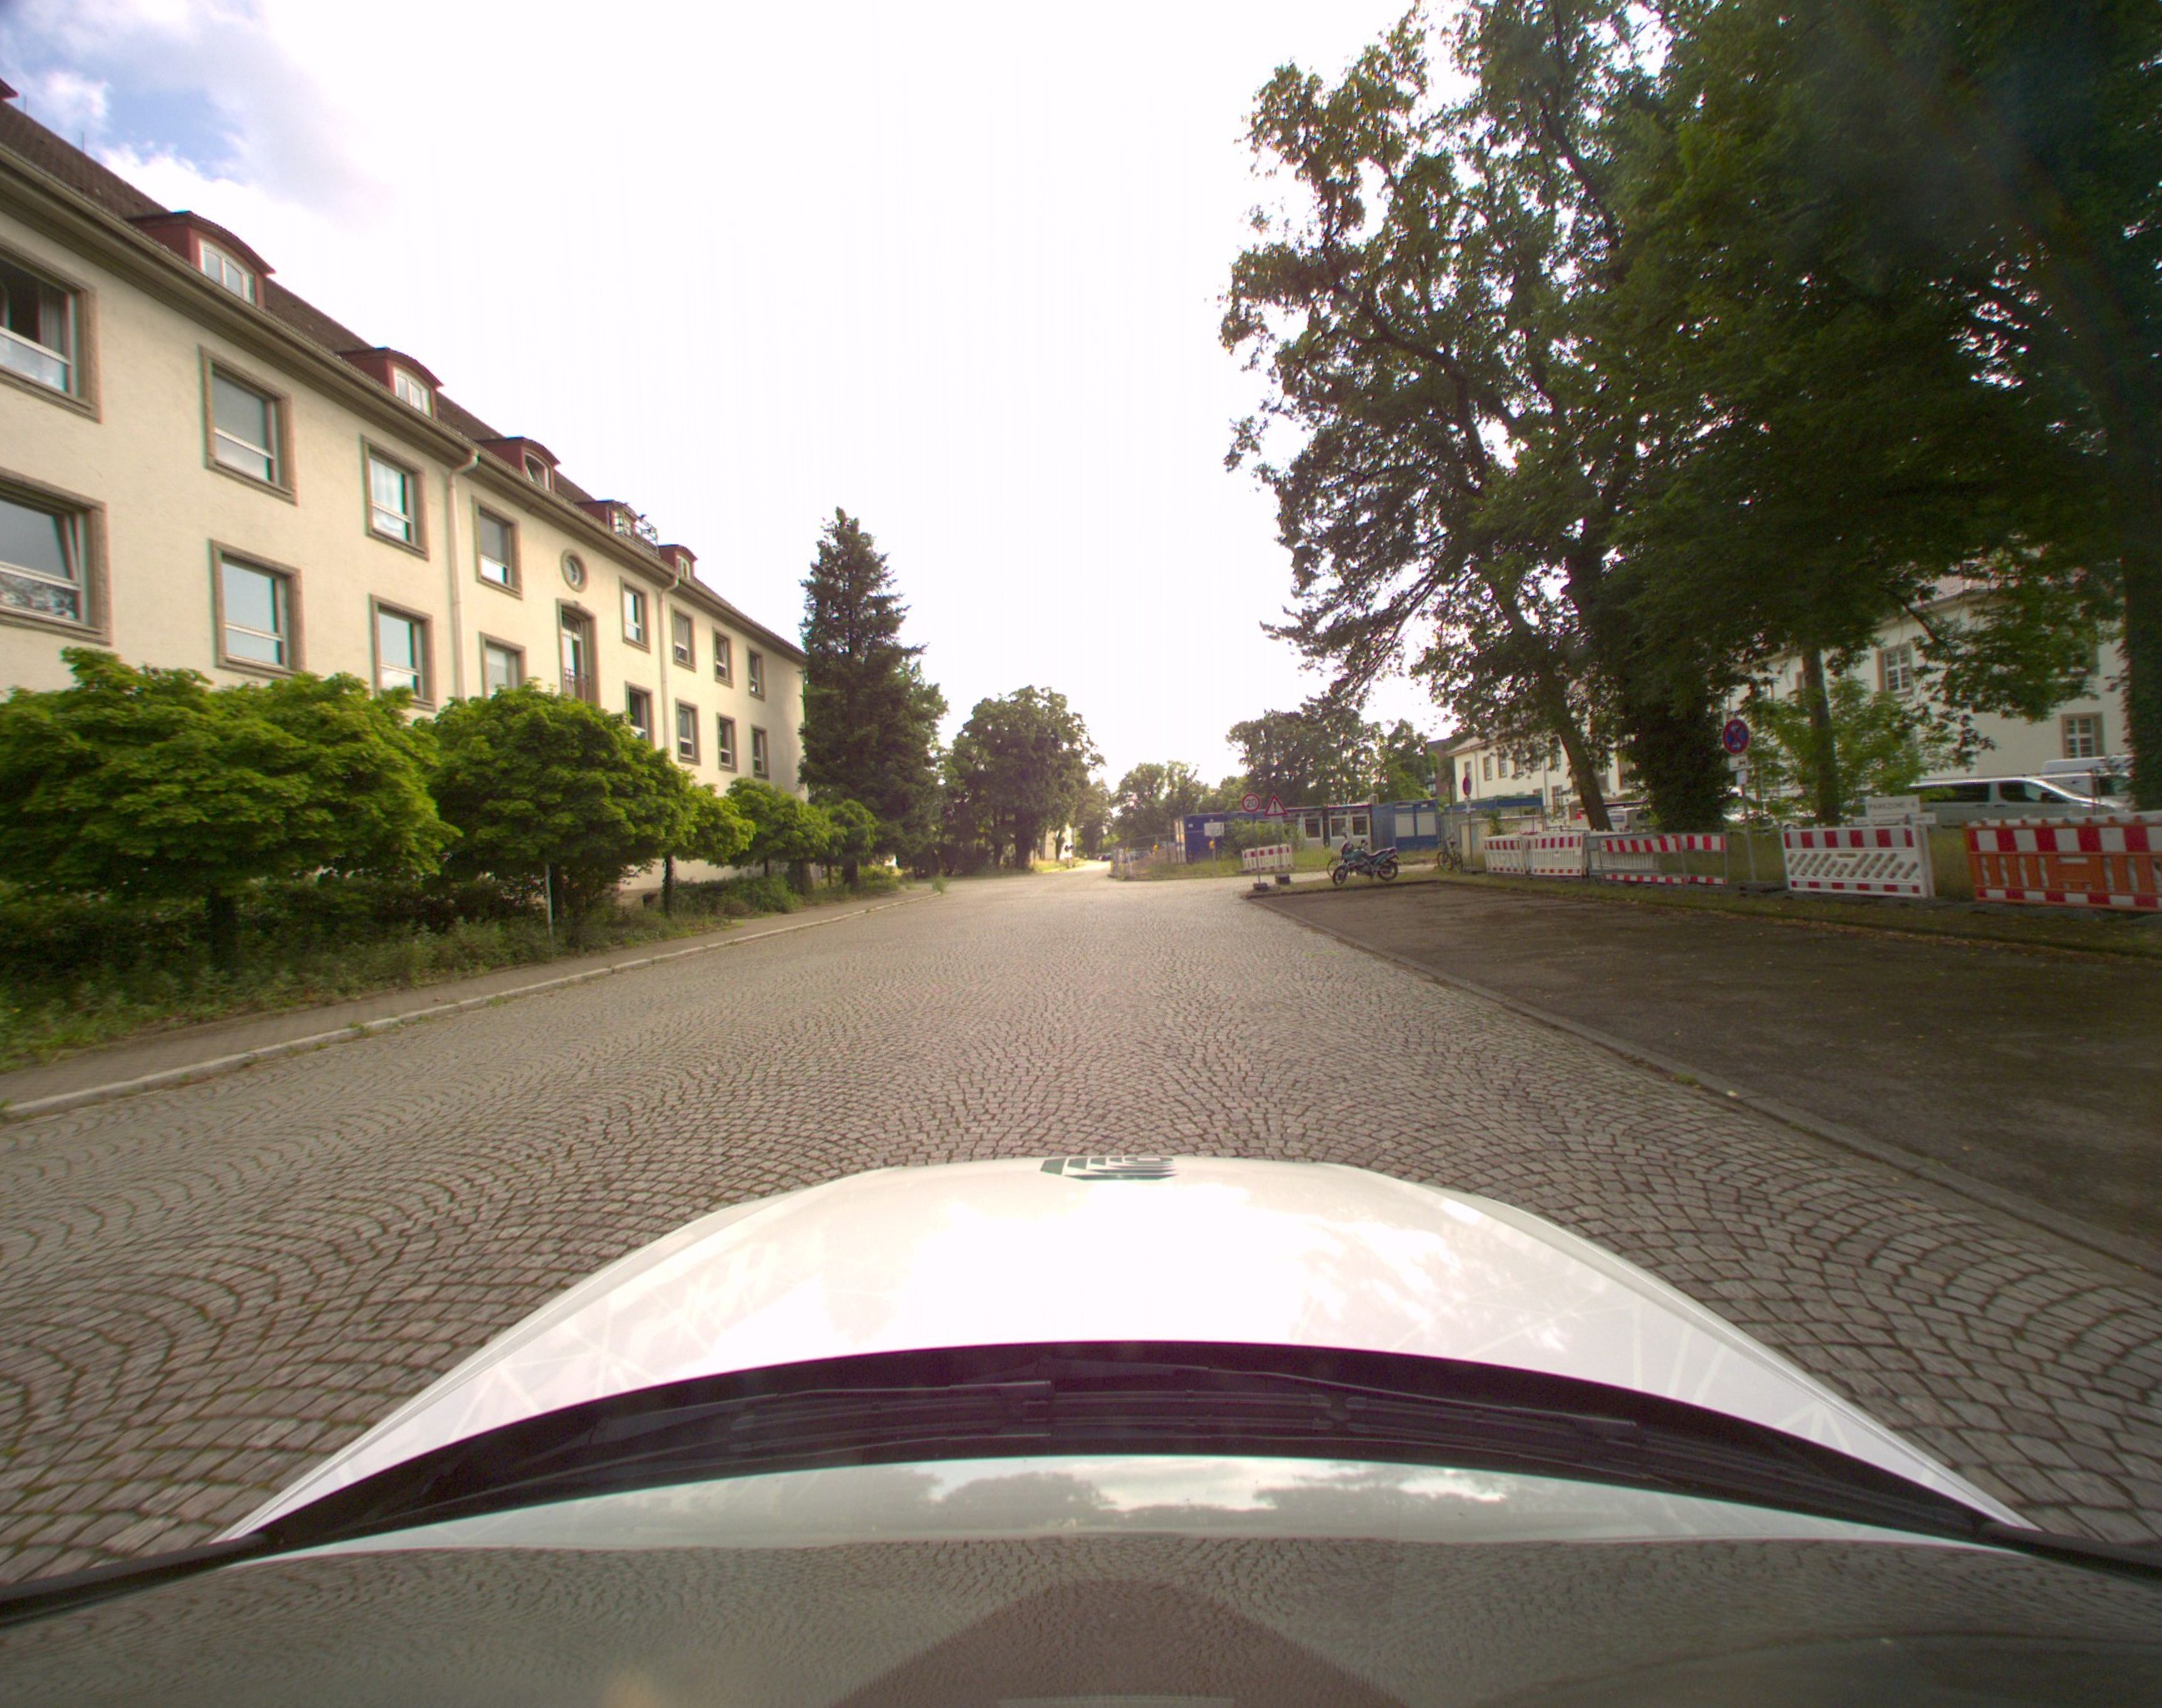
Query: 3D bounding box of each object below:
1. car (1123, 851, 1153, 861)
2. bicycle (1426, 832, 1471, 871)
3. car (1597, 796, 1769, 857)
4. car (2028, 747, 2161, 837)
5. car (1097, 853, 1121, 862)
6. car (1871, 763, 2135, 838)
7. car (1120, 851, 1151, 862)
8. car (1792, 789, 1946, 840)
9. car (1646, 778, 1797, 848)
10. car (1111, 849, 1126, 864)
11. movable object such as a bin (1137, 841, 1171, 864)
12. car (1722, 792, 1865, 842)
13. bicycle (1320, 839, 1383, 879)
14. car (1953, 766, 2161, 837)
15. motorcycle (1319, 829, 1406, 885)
[{"bbox_3d":[8.844,0.318,125.407,4.375,1.510,2.006,-2,0,10],"label":"car"},{"bbox_3d":[11.690,-0.084,25.943,0.639,1.169,1.907,-4,0,5],"label":"bicycle"},{"bbox_3d":[22.155,-1.001,30.115,4.838,1.920,1.908,-3,1,3],"label":"car"},{"bbox_3d":[33.319,-1.925,24.236,2.004,2.578,6.366,-2,0,-27],"label":"car"},{"bbox_3d":[5.804,0.759,167.509,4.769,1.640,1.998,-3,0,-3],"label":"car"},{"bbox_3d":[27.283,-1.492,24.345,2.003,1.825,4.835,-2,0,-24],"label":"car"},{"bbox_3d":[8.108,0.329,121.707,4.375,1.510,2.006,-2,0,10],"label":"car"},{"bbox_3d":[33.042,-1.599,34.385,1.984,1.825,4.880,-2,0,4],"label":"car"},{"bbox_3d":[26.541,-1.597,34.103,1.984,2.556,5.917,-2,0,5],"label":"car"},{"bbox_3d":[5.310,0.304,115.816,1.986,2.013,4.092,-3,0,1],"label":"car"},{"bbox_3d":[8.902,-0.231,98.922,2.108,2.593,4.821,-3,0,31],"label":"movable object such as a bin"},{"bbox_3d":[29.932,-1.498,34.460,1.984,1.825,4.880,-2,0,4],"label":"car"},{"bbox_3d":[8.916,0.162,26.848,1.882,1.197,0.659,-4,0,21],"label":"bicycle"},{"bbox_3d":[30.060,-1.512,24.475,2.003,1.825,4.835,-2,0,-24],"label":"car"},{"bbox_3d":[8.446,0.085,24.477,2.271,1.485,0.756,-4,0,-3],"label":"motorcycle"}]
